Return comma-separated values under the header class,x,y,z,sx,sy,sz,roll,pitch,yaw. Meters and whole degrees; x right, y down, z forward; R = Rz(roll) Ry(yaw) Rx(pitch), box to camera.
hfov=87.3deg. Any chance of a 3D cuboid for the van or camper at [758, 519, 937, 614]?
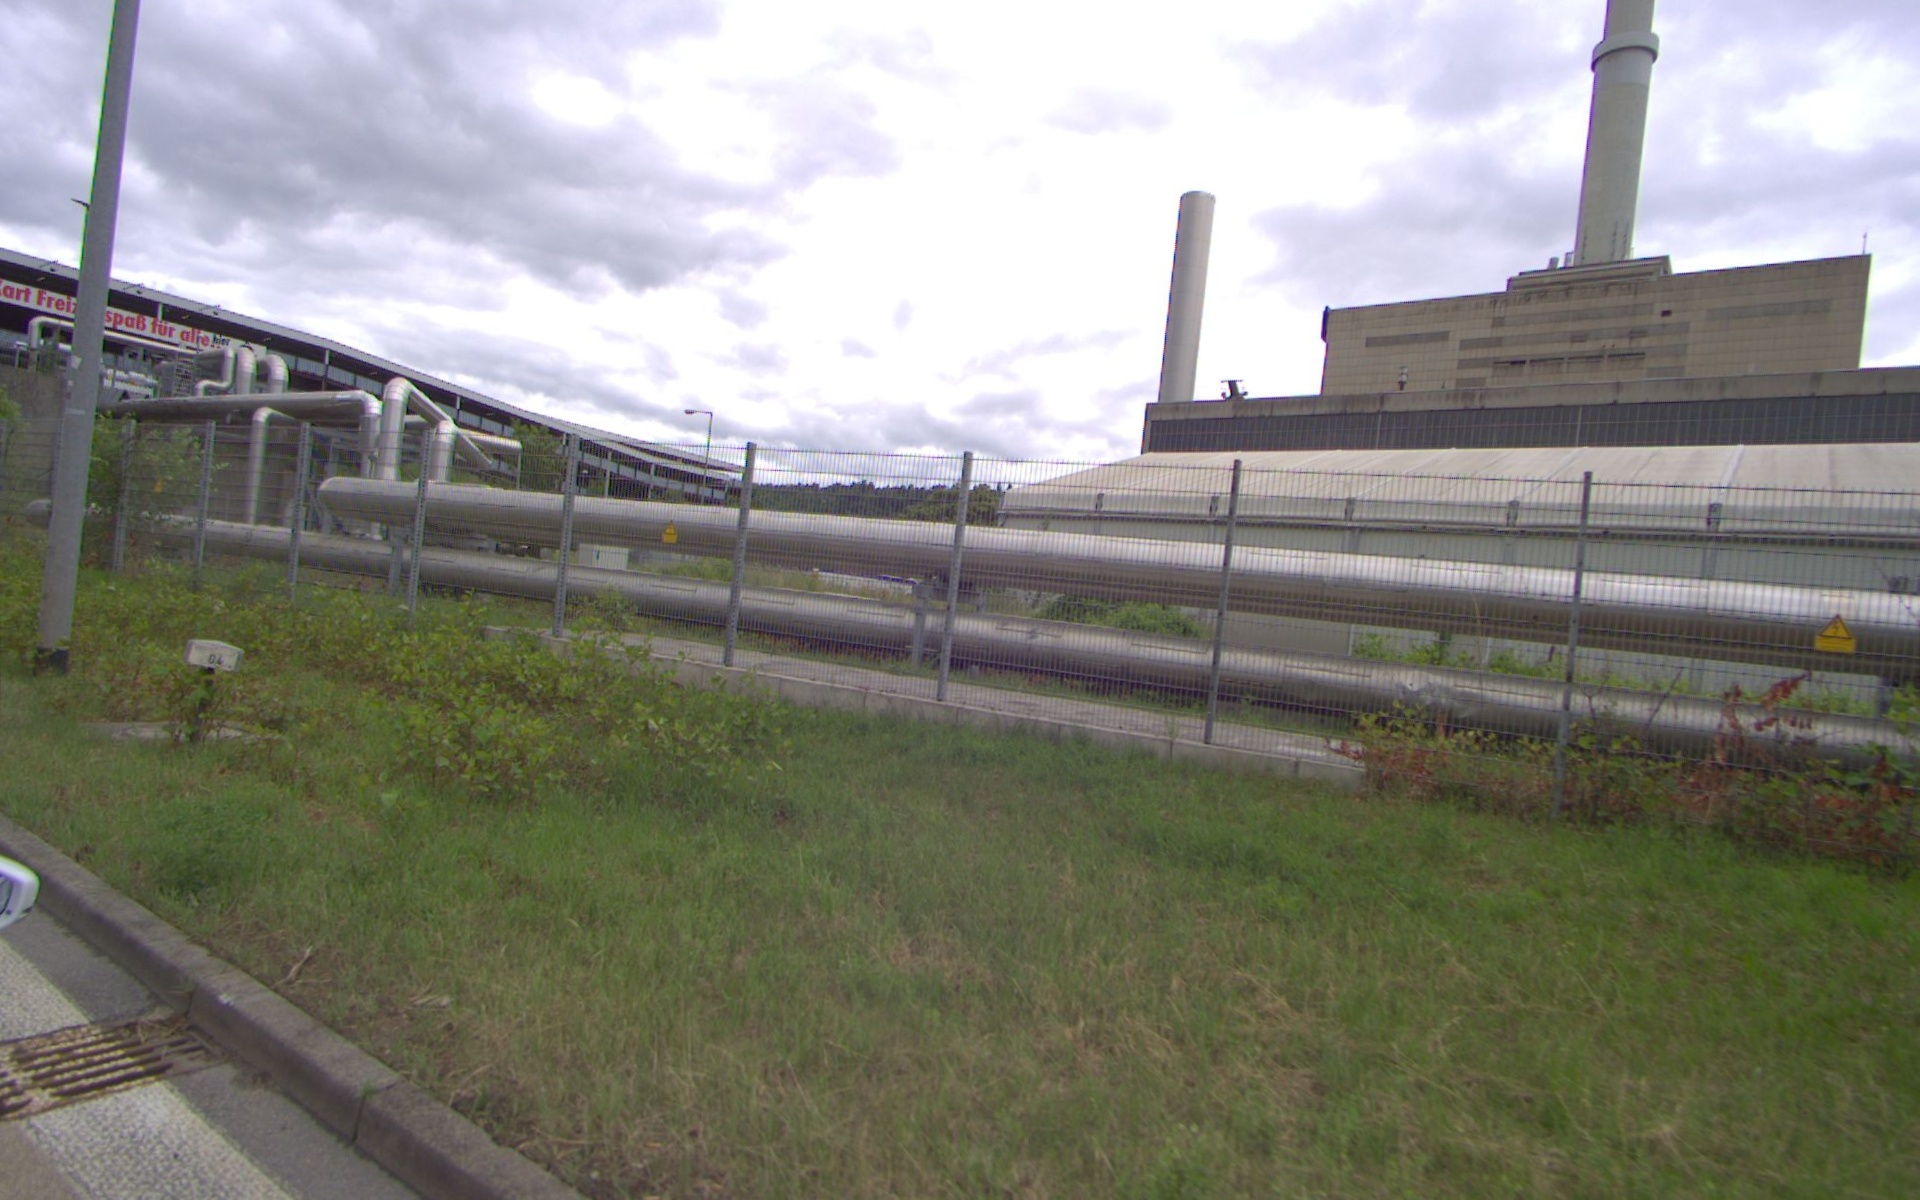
class,x,y,z,sx,sy,sz,roll,pitch,yaw
van or camper,-3.877,-1.116,35.890,2.539,2.579,6.100,6,-1,40
